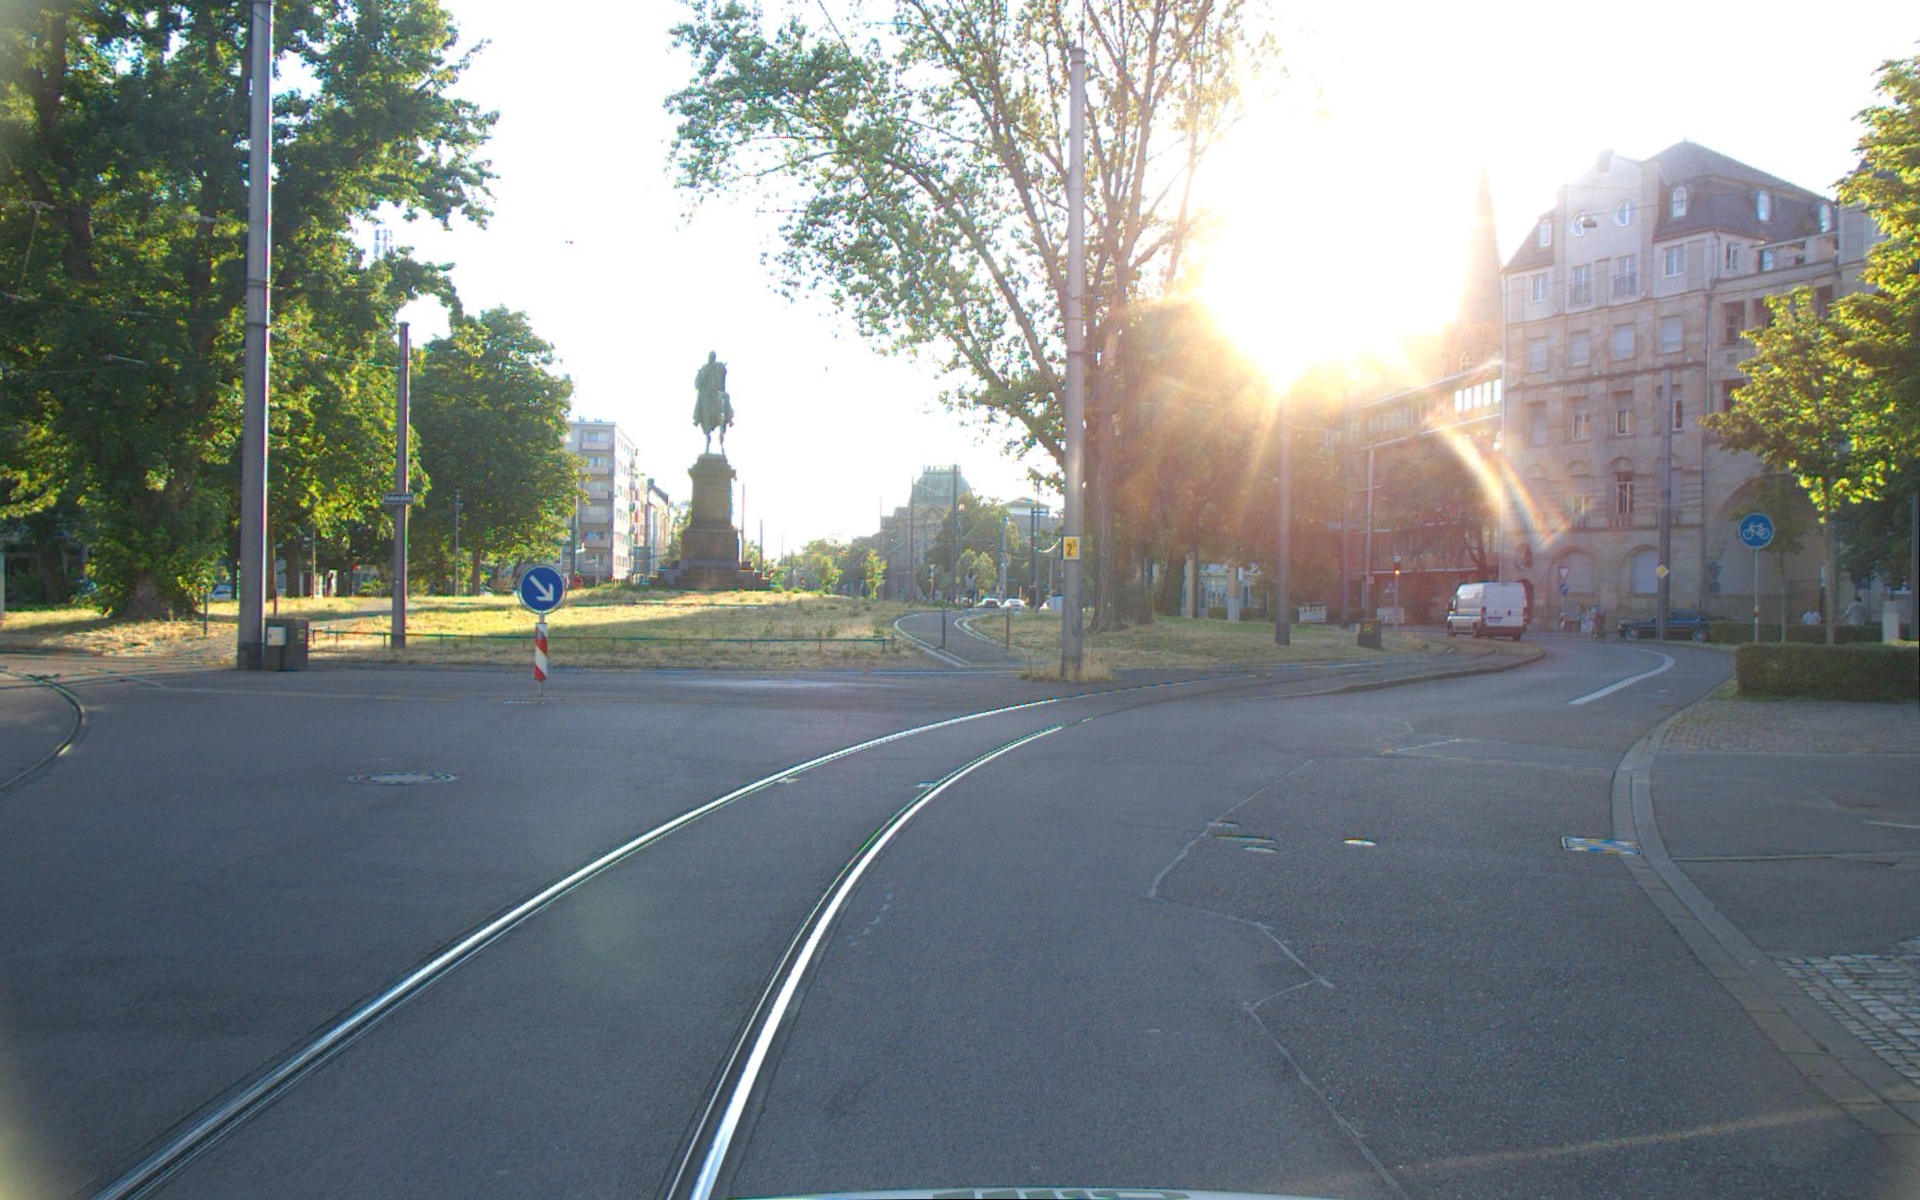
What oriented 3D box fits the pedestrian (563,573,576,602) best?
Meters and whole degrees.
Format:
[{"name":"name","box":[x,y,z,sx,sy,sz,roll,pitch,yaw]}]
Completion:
[{"name":"pedestrian","box":[-22.704,-0.727,96.180,0.756,1.634,0.636,0,0,-13]}]

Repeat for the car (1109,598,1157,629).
[{"name":"car","box":[11.954,0.912,114.605,1.961,2.004,3.982,0,1,-16]}]

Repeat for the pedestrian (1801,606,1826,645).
[{"name":"pedestrian","box":[33.555,1.006,65.044,0.678,1.537,0.587,1,0,-31]}]

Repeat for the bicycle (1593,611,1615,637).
[{"name":"bicycle","box":[26.401,0.974,67.830,0.498,0.995,2.244,1,0,12]}]

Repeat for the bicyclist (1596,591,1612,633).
[{"name":"bicyclist","box":[26.399,0.488,67.791,0.498,1.671,0.776,1,0,12]}]

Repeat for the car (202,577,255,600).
[{"name":"car","box":[-47.088,-0.717,106.559,1.840,1.445,3.922,0,0,-4]}]

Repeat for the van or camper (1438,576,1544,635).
[{"name":"van or camper","box":[23.671,0.208,74.087,2.554,2.515,6.318,0,1,-2]}]

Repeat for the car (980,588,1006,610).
[{"name":"car","box":[3.249,-0.127,163.505,2.097,2.049,3.995,1,0,-6]}]

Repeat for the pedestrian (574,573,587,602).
[{"name":"pedestrian","box":[-21.937,-0.716,95.638,0.756,1.634,0.636,0,0,-13]}]

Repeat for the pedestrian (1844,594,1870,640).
[{"name":"pedestrian","box":[30.327,0.579,55.889,0.624,1.537,0.683,1,0,42]}]

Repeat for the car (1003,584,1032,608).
[{"name":"car","box":[5.230,-0.379,150.472,2.097,2.049,3.995,1,0,-6]}]

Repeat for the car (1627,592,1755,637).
[{"name":"car","box":[31.368,0.604,71.047,4.684,1.792,1.810,1,0,41]}]

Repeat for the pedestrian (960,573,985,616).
[{"name":"pedestrian","box":[0.474,-0.219,64.394,0.627,1.634,0.767,1,0,41]}]

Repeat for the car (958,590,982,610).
[{"name":"car","box":[1.062,0.010,177.755,2.097,2.049,3.995,1,0,-6]}]
